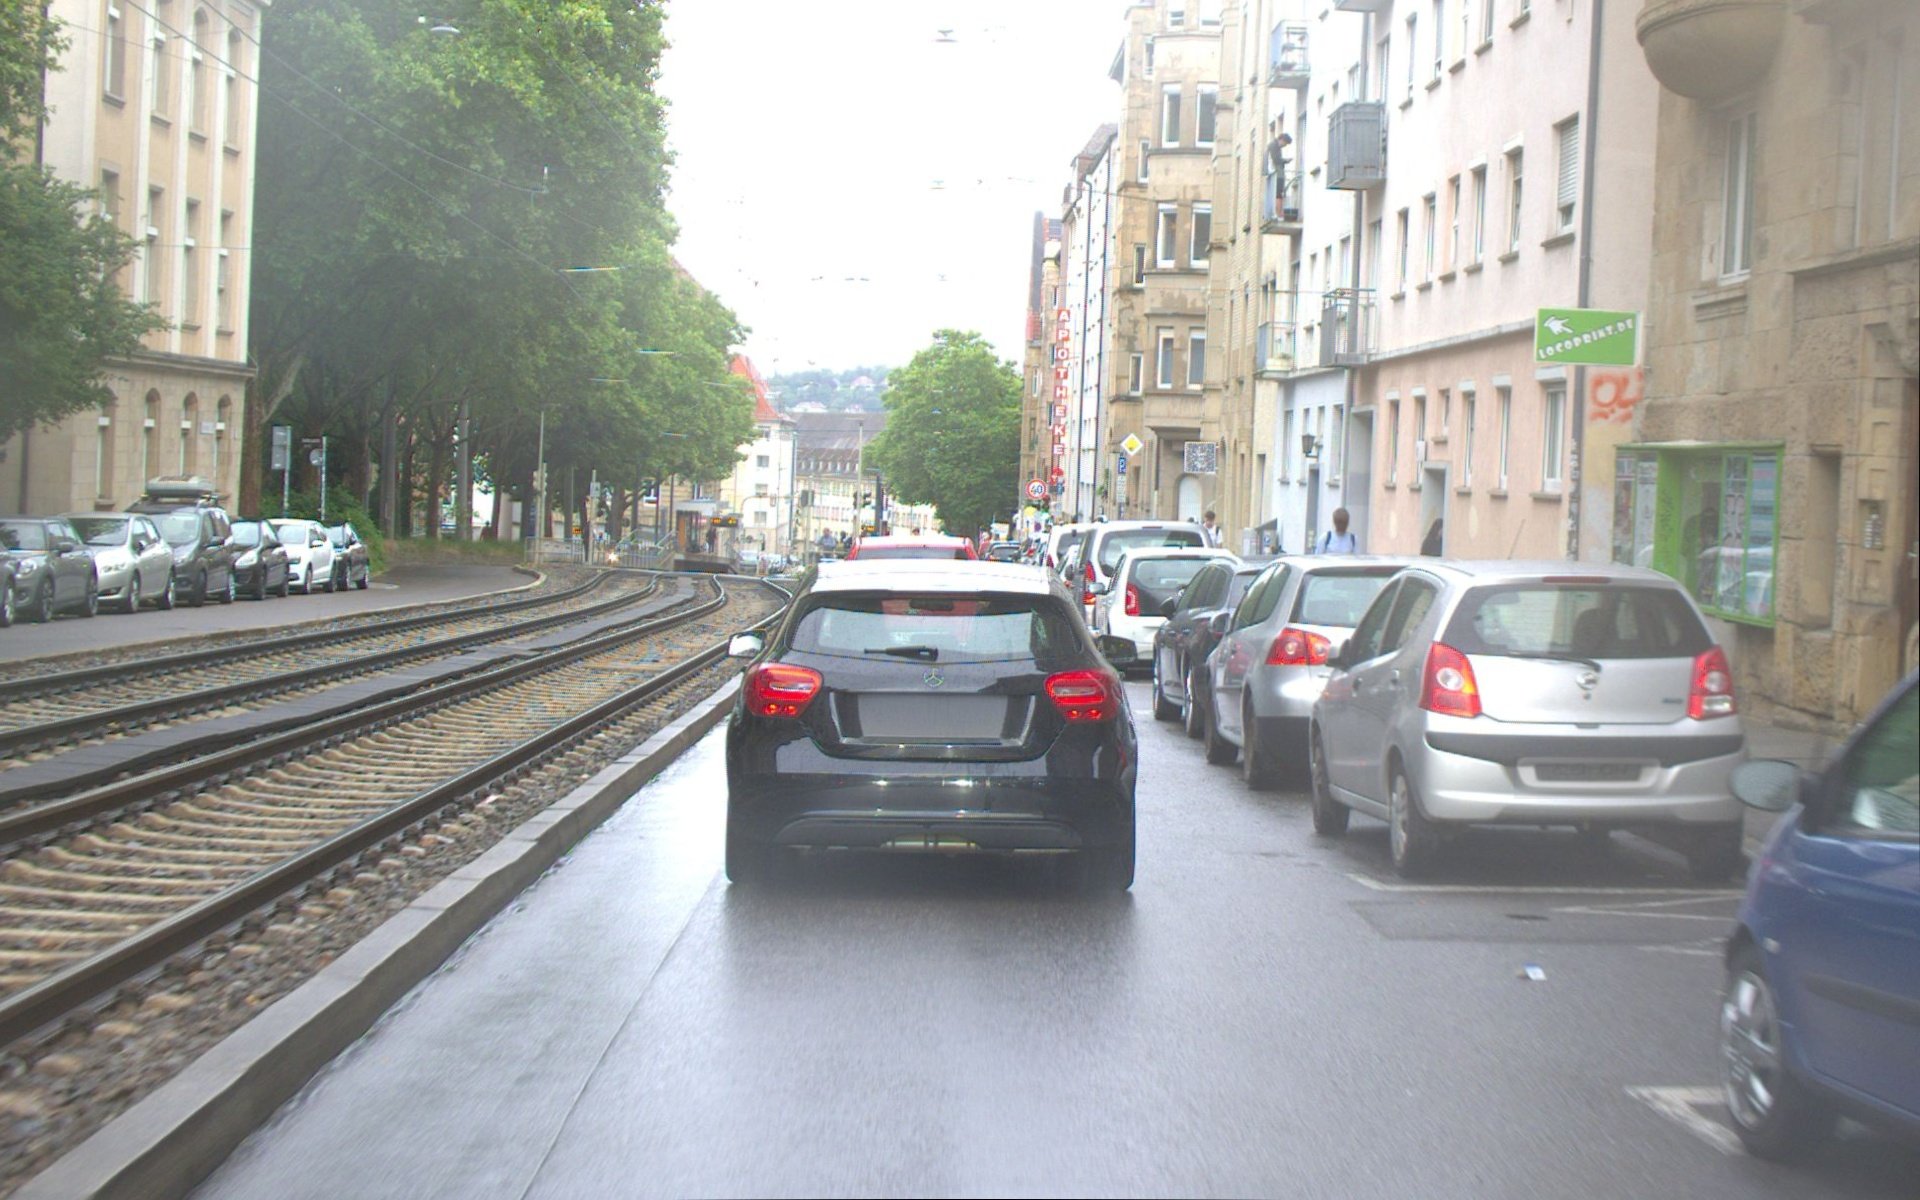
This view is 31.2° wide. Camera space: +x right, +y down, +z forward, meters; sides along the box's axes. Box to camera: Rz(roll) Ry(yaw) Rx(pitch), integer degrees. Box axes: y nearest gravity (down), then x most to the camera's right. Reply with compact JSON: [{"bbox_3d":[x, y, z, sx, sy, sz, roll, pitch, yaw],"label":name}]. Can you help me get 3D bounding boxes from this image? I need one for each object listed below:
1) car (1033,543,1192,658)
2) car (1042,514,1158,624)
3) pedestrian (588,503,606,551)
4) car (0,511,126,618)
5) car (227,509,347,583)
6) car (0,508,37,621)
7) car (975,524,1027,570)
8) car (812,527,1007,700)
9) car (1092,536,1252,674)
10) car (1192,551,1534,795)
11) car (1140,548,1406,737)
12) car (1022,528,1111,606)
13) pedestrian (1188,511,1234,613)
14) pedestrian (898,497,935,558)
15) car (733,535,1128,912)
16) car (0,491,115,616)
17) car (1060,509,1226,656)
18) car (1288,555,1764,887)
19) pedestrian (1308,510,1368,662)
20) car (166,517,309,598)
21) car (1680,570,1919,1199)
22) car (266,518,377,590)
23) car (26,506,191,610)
[{"bbox_3d":[2.093,-0.032,48.374,1.871,1.450,4.903,1,1,-1],"label":"car"},{"bbox_3d":[2.328,-0.549,58.033,1.828,1.744,4.467,1,1,1],"label":"car"},{"bbox_3d":[-13.690,-2.753,129.762,0.534,1.748,0.607,3,1,0],"label":"pedestrian"},{"bbox_3d":[-12.662,-0.505,47.156,1.539,1.409,3.953,-1,1,-1],"label":"car"},{"bbox_3d":[-13.068,-1.055,66.944,1.500,1.386,3.987,-1,1,1],"label":"car"},{"bbox_3d":[-12.827,-0.424,42.538,1.754,1.409,4.154,-1,1,-1],"label":"car"},{"bbox_3d":[1.481,-1.945,125.695,1.827,1.612,3.864,0,2,0],"label":"car"},{"bbox_3d":[-0.483,0.085,34.123,1.785,1.575,4.000,1,1,0],"label":"car"},{"bbox_3d":[2.356,0.018,38.889,1.570,1.457,3.600,1,1,0],"label":"car"},{"bbox_3d":[2.542,0.409,22.515,1.668,1.429,3.956,0,1,-2],"label":"car"},{"bbox_3d":[2.527,0.296,28.700,1.669,1.405,4.312,1,1,-2],"label":"car"},{"bbox_3d":[2.179,-0.699,71.203,1.693,1.524,4.000,2,1,0],"label":"car"},{"bbox_3d":[4.554,-0.701,62.482,0.746,1.827,1.039,-1,1,1],"label":"pedestrian"},{"bbox_3d":[-1.430,-2.391,113.519,1.137,1.991,1.173,0,1,-4],"label":"pedestrian"},{"bbox_3d":[-0.147,0.470,15.801,1.580,1.499,3.575,1,1,-1],"label":"car"},{"bbox_3d":[-12.899,-0.653,47.321,1.576,1.637,4.072,-1,1,-1],"label":"car"},{"bbox_3d":[2.257,-0.259,43.399,1.791,1.759,4.212,0,1,-1],"label":"car"},{"bbox_3d":[2.679,0.513,17.038,1.590,1.429,3.685,0,1,-3],"label":"car"},{"bbox_3d":[4.430,-0.169,40.362,0.607,1.757,0.688,0,1,-1],"label":"pedestrian"},{"bbox_3d":[-13.104,-0.790,62.543,1.675,1.409,4.010,-1,1,1],"label":"car"},{"bbox_3d":[2.760,0.675,7.477,1.543,1.410,3.447,1,1,-2],"label":"car"},{"bbox_3d":[-13.230,-0.973,71.396,1.614,1.424,3.853,1,2,-1],"label":"car"},{"bbox_3d":[-12.877,-0.654,52.196,1.539,1.500,4.155,-1,1,-1],"label":"car"}]
